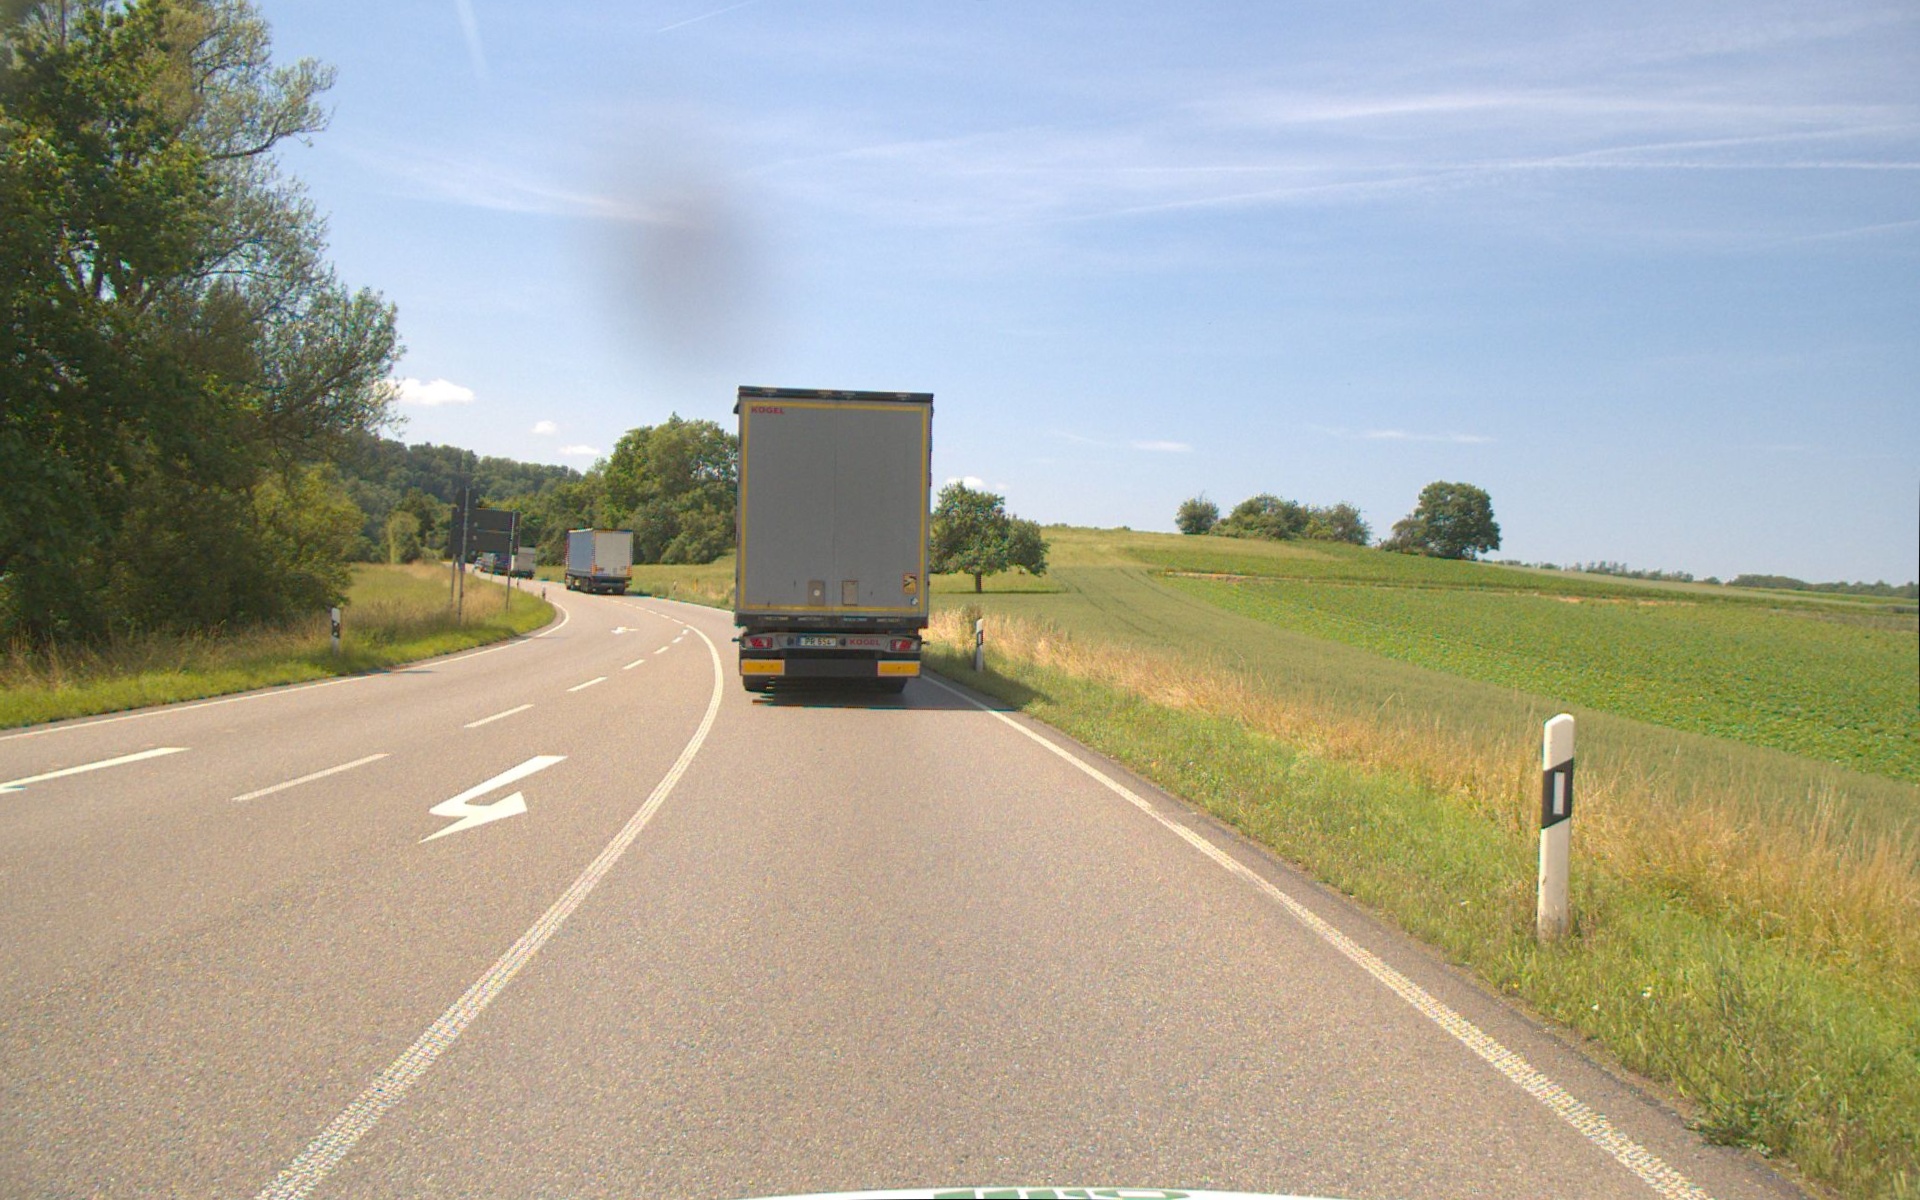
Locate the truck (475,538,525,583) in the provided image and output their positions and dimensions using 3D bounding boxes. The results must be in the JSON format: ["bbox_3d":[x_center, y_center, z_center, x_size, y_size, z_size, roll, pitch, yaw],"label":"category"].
[{"bbox_3d":[-50.615,-4.242,181.689,3.481,4.314,13.311,4,-2,-23],"label":"truck"}]

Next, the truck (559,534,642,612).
[{"bbox_3d":[-24.170,-1.918,110.284,2.918,4.663,16.218,3,1,-21],"label":"truck"}]

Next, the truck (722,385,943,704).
[{"bbox_3d":[-2.217,-0.734,25.886,2.755,4.015,9.575,1,0,-7],"label":"truck"}]

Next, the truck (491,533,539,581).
[{"bbox_3d":[-44.654,-4.196,165.667,3.583,4.201,13.023,4,-2,-19],"label":"truck"}]
